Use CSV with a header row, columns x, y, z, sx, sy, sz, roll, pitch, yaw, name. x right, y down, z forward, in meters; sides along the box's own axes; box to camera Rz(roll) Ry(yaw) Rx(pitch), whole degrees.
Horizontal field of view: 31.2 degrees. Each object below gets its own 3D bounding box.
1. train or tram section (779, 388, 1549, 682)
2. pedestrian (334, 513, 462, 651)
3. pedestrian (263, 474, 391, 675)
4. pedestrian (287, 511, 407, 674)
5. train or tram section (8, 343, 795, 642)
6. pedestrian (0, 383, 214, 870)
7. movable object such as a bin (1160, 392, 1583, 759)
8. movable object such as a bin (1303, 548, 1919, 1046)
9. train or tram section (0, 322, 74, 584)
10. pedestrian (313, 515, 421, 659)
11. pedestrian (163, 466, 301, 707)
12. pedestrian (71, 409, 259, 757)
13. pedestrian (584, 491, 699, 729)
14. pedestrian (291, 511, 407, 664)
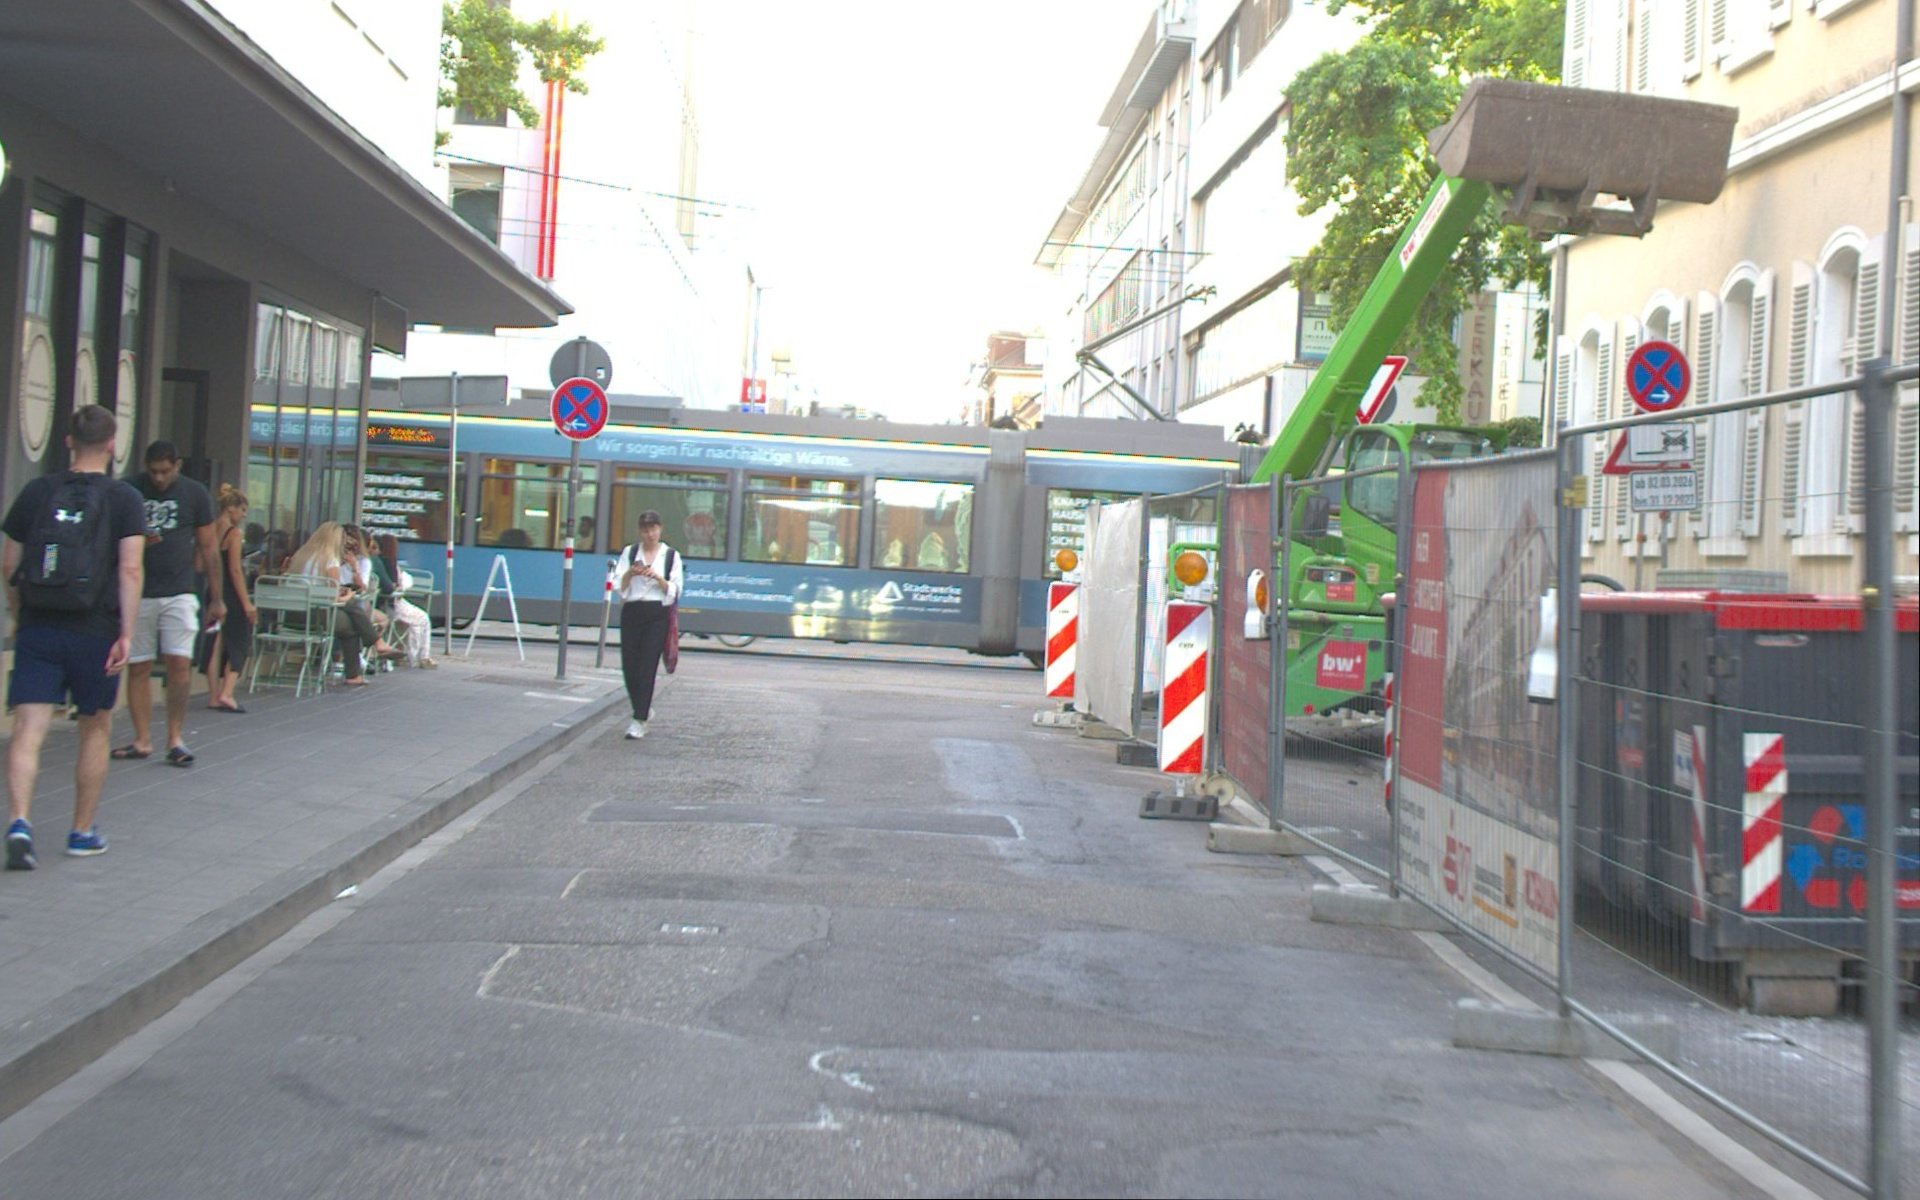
x,y,z,sx,sy,sz,roll,pitch,yaw,name
2.736,-0.891,48.220,10.335,3.511,3.027,3,0,-2,train or tram section
-5.198,-0.163,31.806,0.705,1.215,0.840,4,1,36,pedestrian
-5.068,-0.203,27.576,0.704,1.542,0.861,4,1,6,pedestrian
-5.099,-0.069,28.580,0.704,1.281,0.861,3,1,-26,pedestrian
-7.595,-1.444,47.913,10.367,3.512,3.017,3,0,-2,train or tram section
-3.377,0.092,13.352,0.714,1.804,0.933,2,1,-1,pedestrian
3.492,-0.254,30.542,2.635,2.863,5.566,2,1,-4,movable object such as a bin
3.615,0.685,15.968,2.890,1.659,7.295,2,1,-3,movable object such as a bin
-18.143,-2.246,47.664,10.808,3.511,3.013,3,0,-1,train or tram section
-5.256,-0.116,30.507,0.704,1.191,0.691,6,1,1,pedestrian
-4.949,-0.098,23.360,0.656,1.564,0.638,4,1,-27,pedestrian
-4.244,-0.095,18.414,0.704,1.776,0.933,4,1,-2,pedestrian
-2.374,0.067,25.688,0.756,1.733,0.785,1,1,0,pedestrian
-5.262,-0.111,29.642,0.704,1.235,0.778,7,1,2,pedestrian
